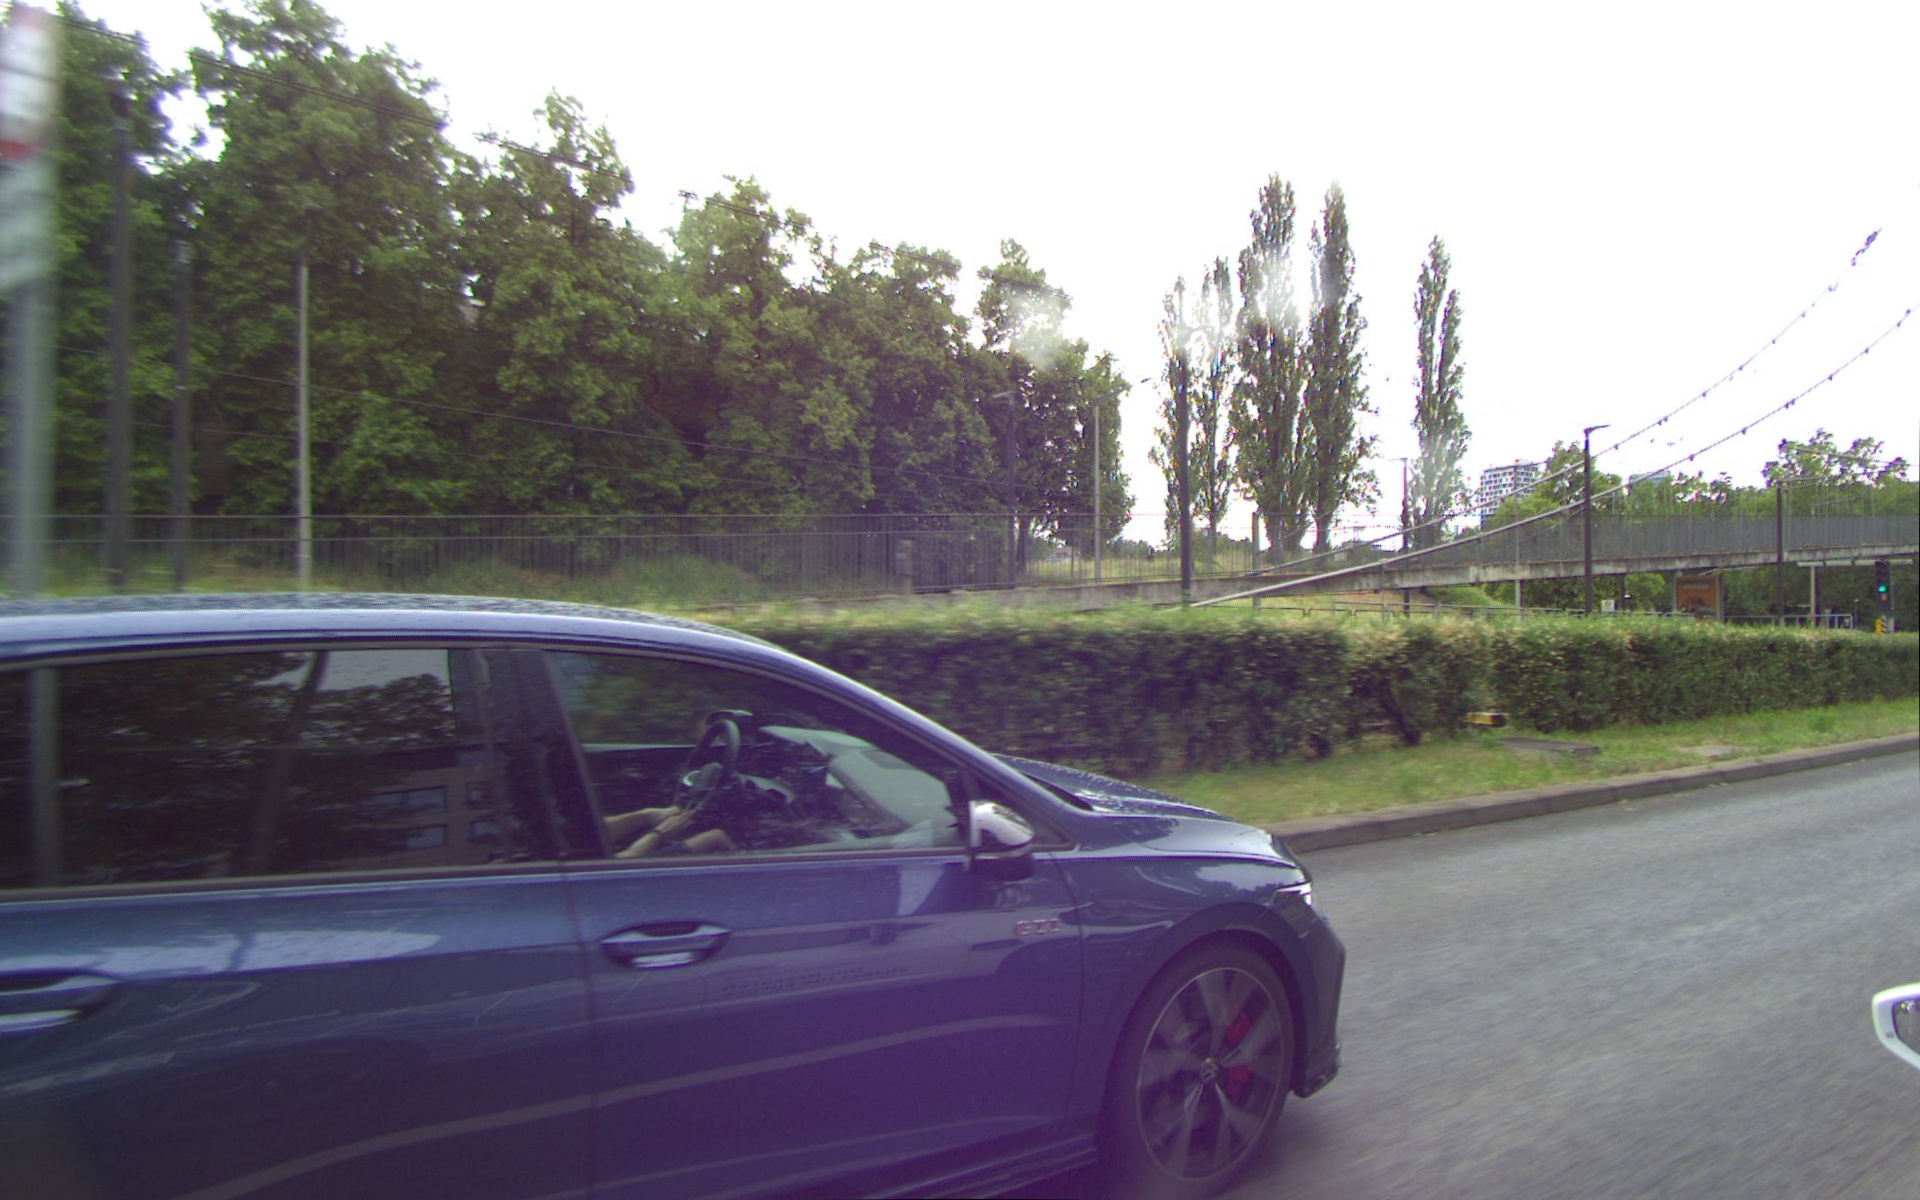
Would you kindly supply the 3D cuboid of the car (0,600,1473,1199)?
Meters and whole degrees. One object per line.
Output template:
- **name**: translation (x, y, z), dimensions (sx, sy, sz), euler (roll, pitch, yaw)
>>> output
- **car**: translation (-0.778, 0.736, 2.655), dimensions (4.297, 1.397, 1.799), euler (1, 0, -31)
